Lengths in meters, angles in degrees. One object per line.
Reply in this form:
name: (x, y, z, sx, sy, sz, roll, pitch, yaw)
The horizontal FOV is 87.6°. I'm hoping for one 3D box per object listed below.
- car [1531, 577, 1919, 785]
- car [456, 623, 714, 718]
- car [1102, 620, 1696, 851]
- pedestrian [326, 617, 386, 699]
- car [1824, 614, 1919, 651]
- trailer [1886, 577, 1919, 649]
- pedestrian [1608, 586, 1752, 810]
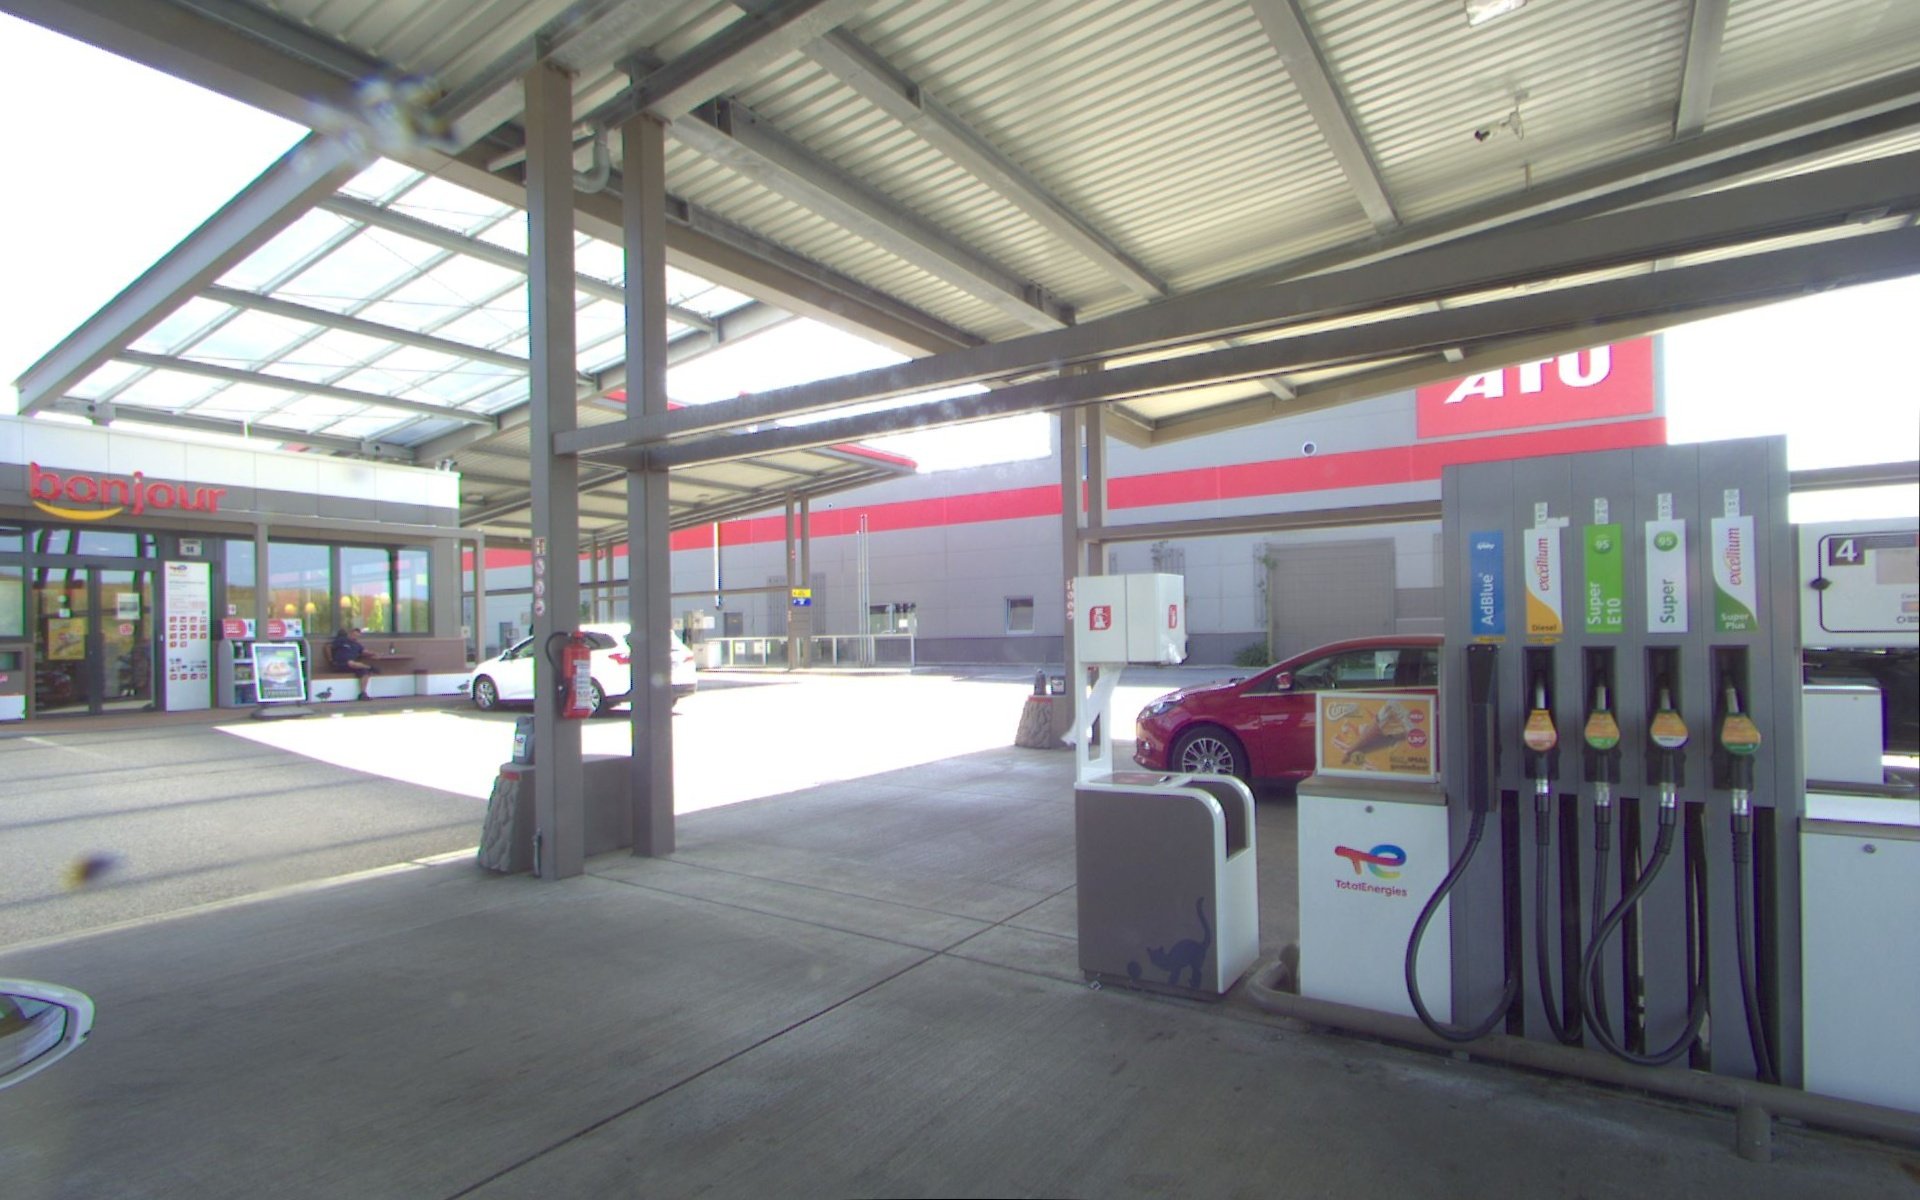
car: (8.620, 0.739, 10.236, 4.730, 1.875, 2.023, 0, 0, 33)
car: (-6.526, 1.148, 17.373, 4.253, 1.475, 1.829, -1, -1, 27)
car: (3.446, 0.927, 8.317, 4.173, 1.488, 1.695, -1, -1, 33)
pedestrian: (-10.910, 1.035, 18.086, 0.663, 1.450, 0.700, -1, -1, 32)
car: (34.995, 1.189, 37.520, 3.761, 1.334, 1.682, -1, -1, 0)
trailer: (35.044, 0.429, 34.692, 3.922, 2.459, 2.000, -1, 0, 6)
pedestrian: (5.906, 0.770, 8.266, 0.915, 1.725, 0.699, -1, -1, 34)
